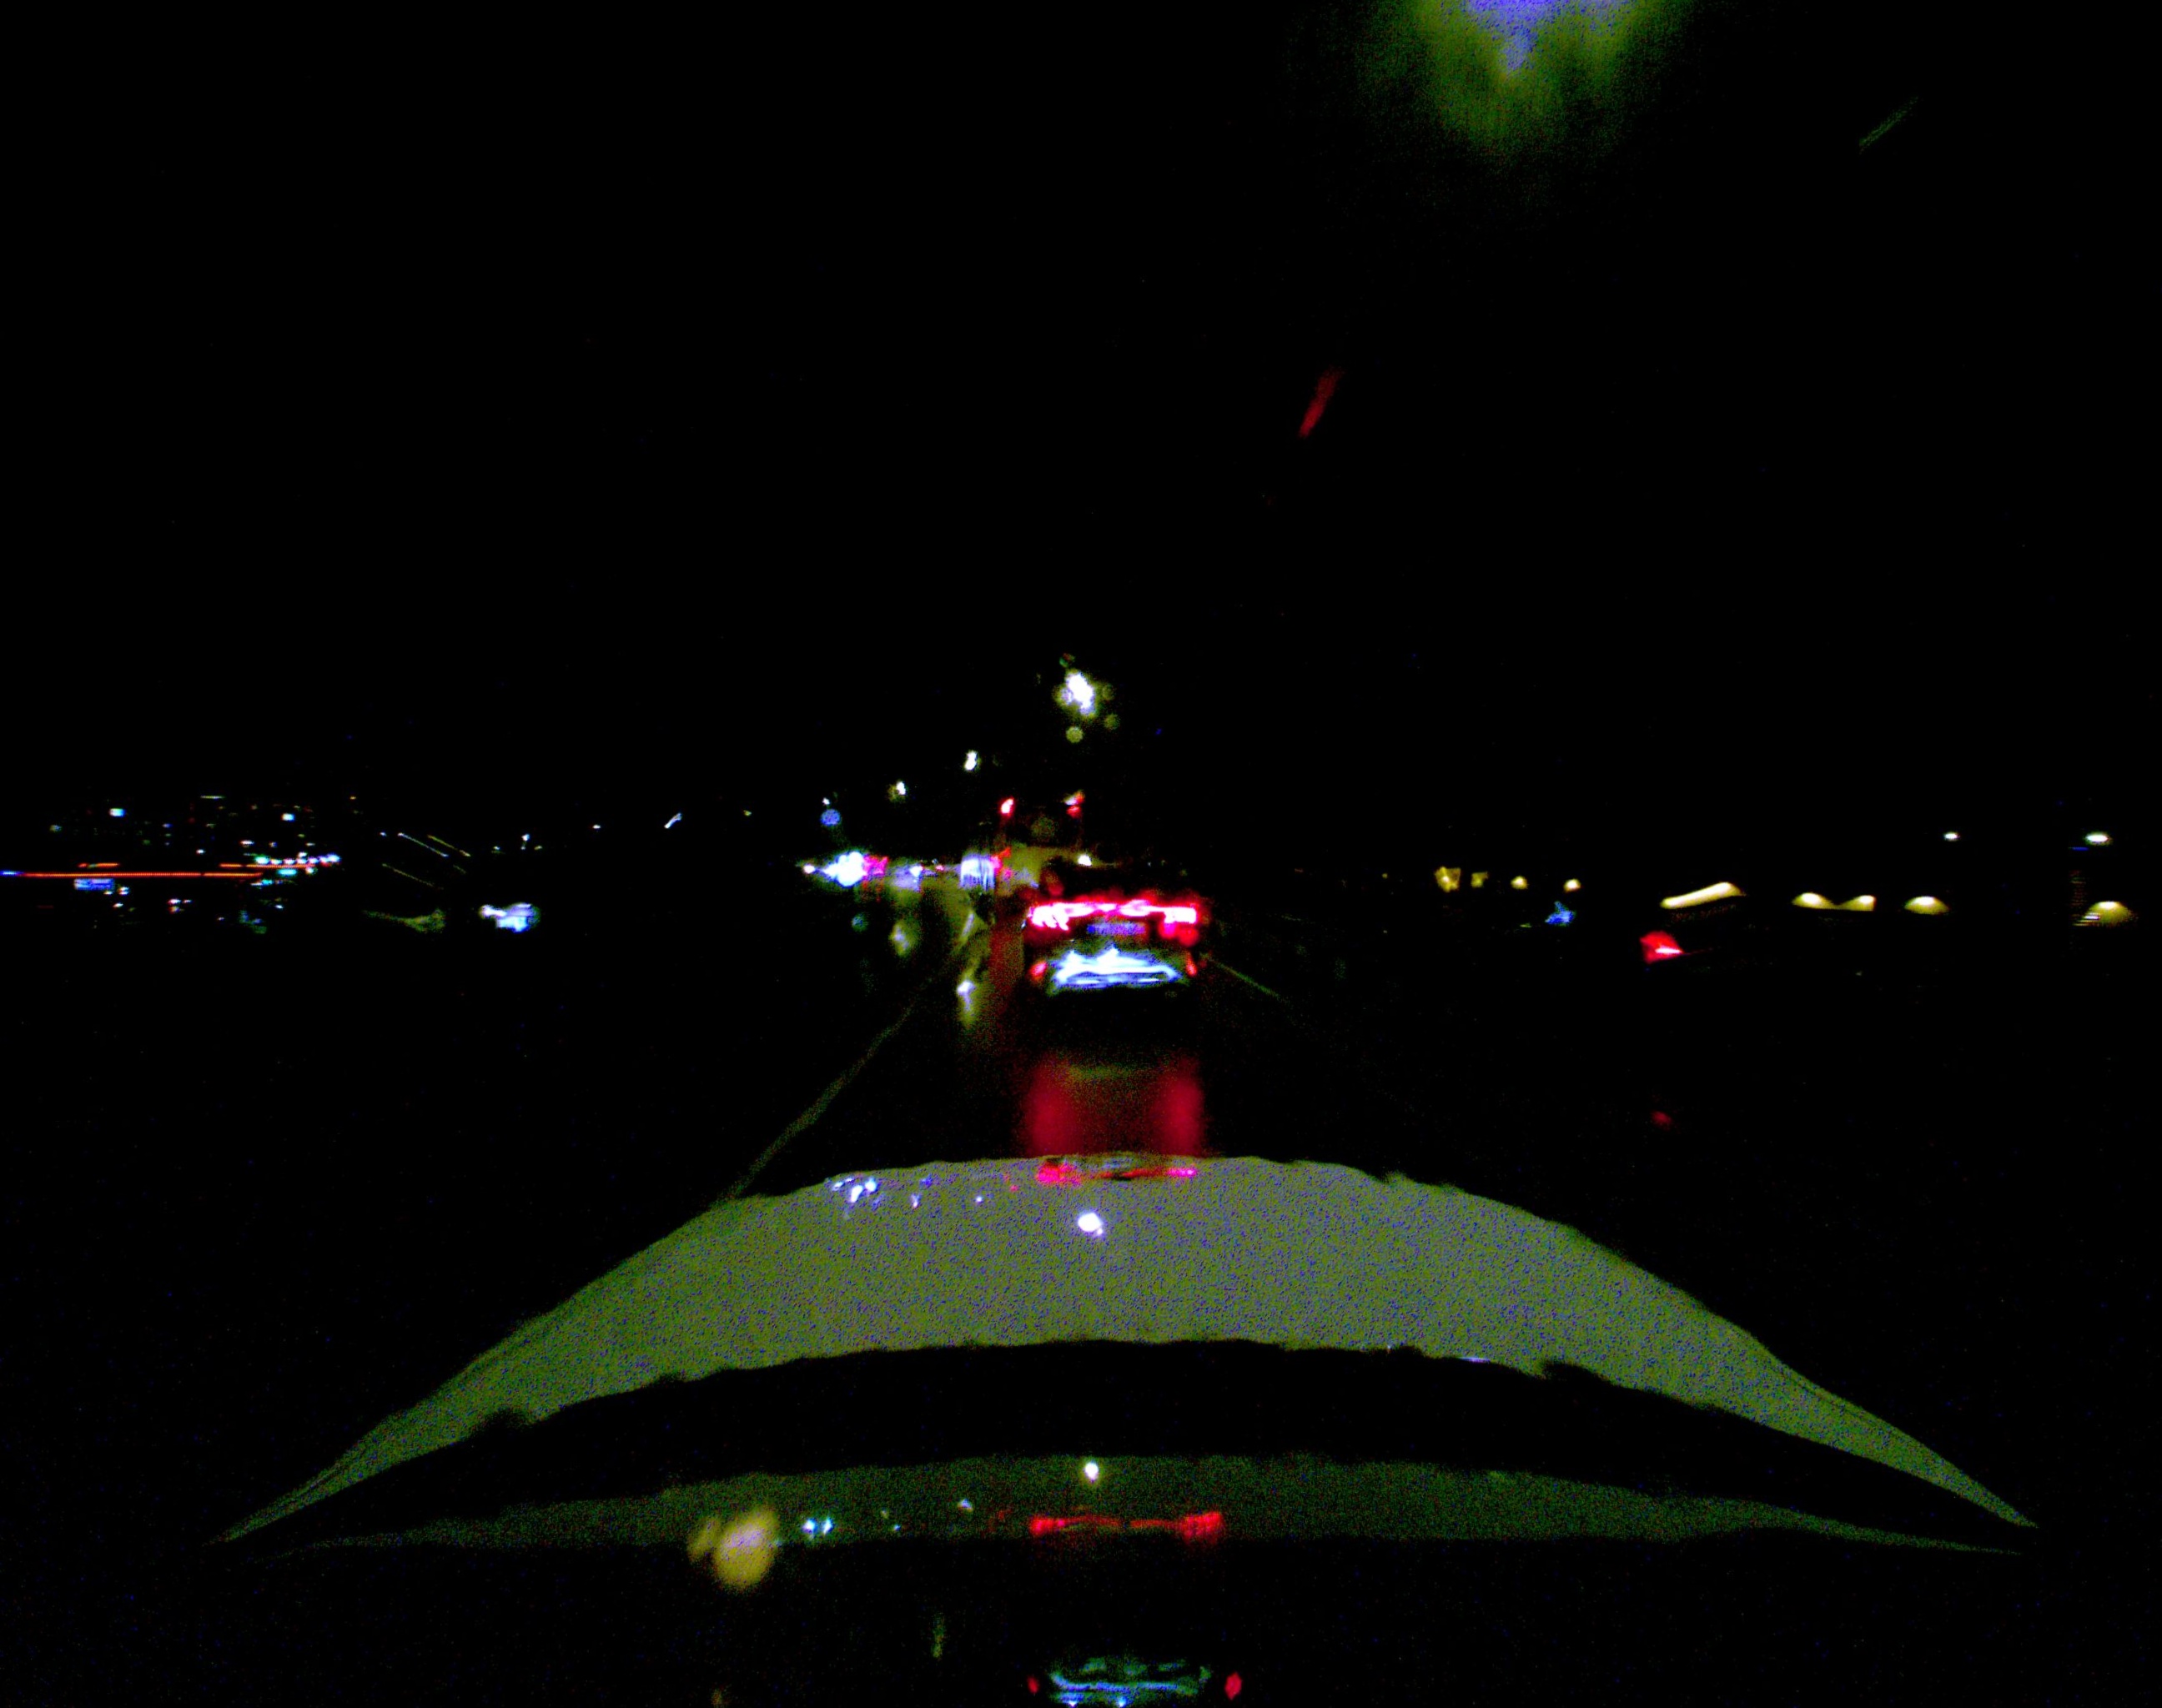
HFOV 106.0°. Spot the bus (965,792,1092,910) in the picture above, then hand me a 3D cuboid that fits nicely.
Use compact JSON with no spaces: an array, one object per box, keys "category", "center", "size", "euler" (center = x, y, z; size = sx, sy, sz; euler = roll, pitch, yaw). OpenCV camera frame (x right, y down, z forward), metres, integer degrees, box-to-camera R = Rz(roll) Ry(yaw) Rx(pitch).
[{"category":"bus","center":[-2.299,-0.086,28.478],"size":[3.083,3.132,12.654],"euler":[-2,0,-10]}]

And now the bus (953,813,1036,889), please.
[{"category":"bus","center":[-4.300,-0.110,38.678],"size":[3.051,3.132,8.045],"euler":[2,-1,-12]}]

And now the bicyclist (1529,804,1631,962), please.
[{"category":"bicyclist","center":[4.473,0.243,7.344],"size":[0.451,1.349,0.764],"euler":[0,0,-1]}]

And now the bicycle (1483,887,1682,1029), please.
[{"category":"bicycle","center":[4.473,0.862,7.478],"size":[0.482,1.034,2.171],"euler":[-1,-1,0]}]

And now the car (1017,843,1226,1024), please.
[{"category":"car","center":[0.340,0.725,9.287],"size":[1.850,1.586,3.998],"euler":[-1,-1,-1]}]

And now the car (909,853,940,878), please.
[{"category":"car","center":[-11.587,0.885,60.146],"size":[1.642,1.656,3.684],"euler":[-1,-2,-20]}]
